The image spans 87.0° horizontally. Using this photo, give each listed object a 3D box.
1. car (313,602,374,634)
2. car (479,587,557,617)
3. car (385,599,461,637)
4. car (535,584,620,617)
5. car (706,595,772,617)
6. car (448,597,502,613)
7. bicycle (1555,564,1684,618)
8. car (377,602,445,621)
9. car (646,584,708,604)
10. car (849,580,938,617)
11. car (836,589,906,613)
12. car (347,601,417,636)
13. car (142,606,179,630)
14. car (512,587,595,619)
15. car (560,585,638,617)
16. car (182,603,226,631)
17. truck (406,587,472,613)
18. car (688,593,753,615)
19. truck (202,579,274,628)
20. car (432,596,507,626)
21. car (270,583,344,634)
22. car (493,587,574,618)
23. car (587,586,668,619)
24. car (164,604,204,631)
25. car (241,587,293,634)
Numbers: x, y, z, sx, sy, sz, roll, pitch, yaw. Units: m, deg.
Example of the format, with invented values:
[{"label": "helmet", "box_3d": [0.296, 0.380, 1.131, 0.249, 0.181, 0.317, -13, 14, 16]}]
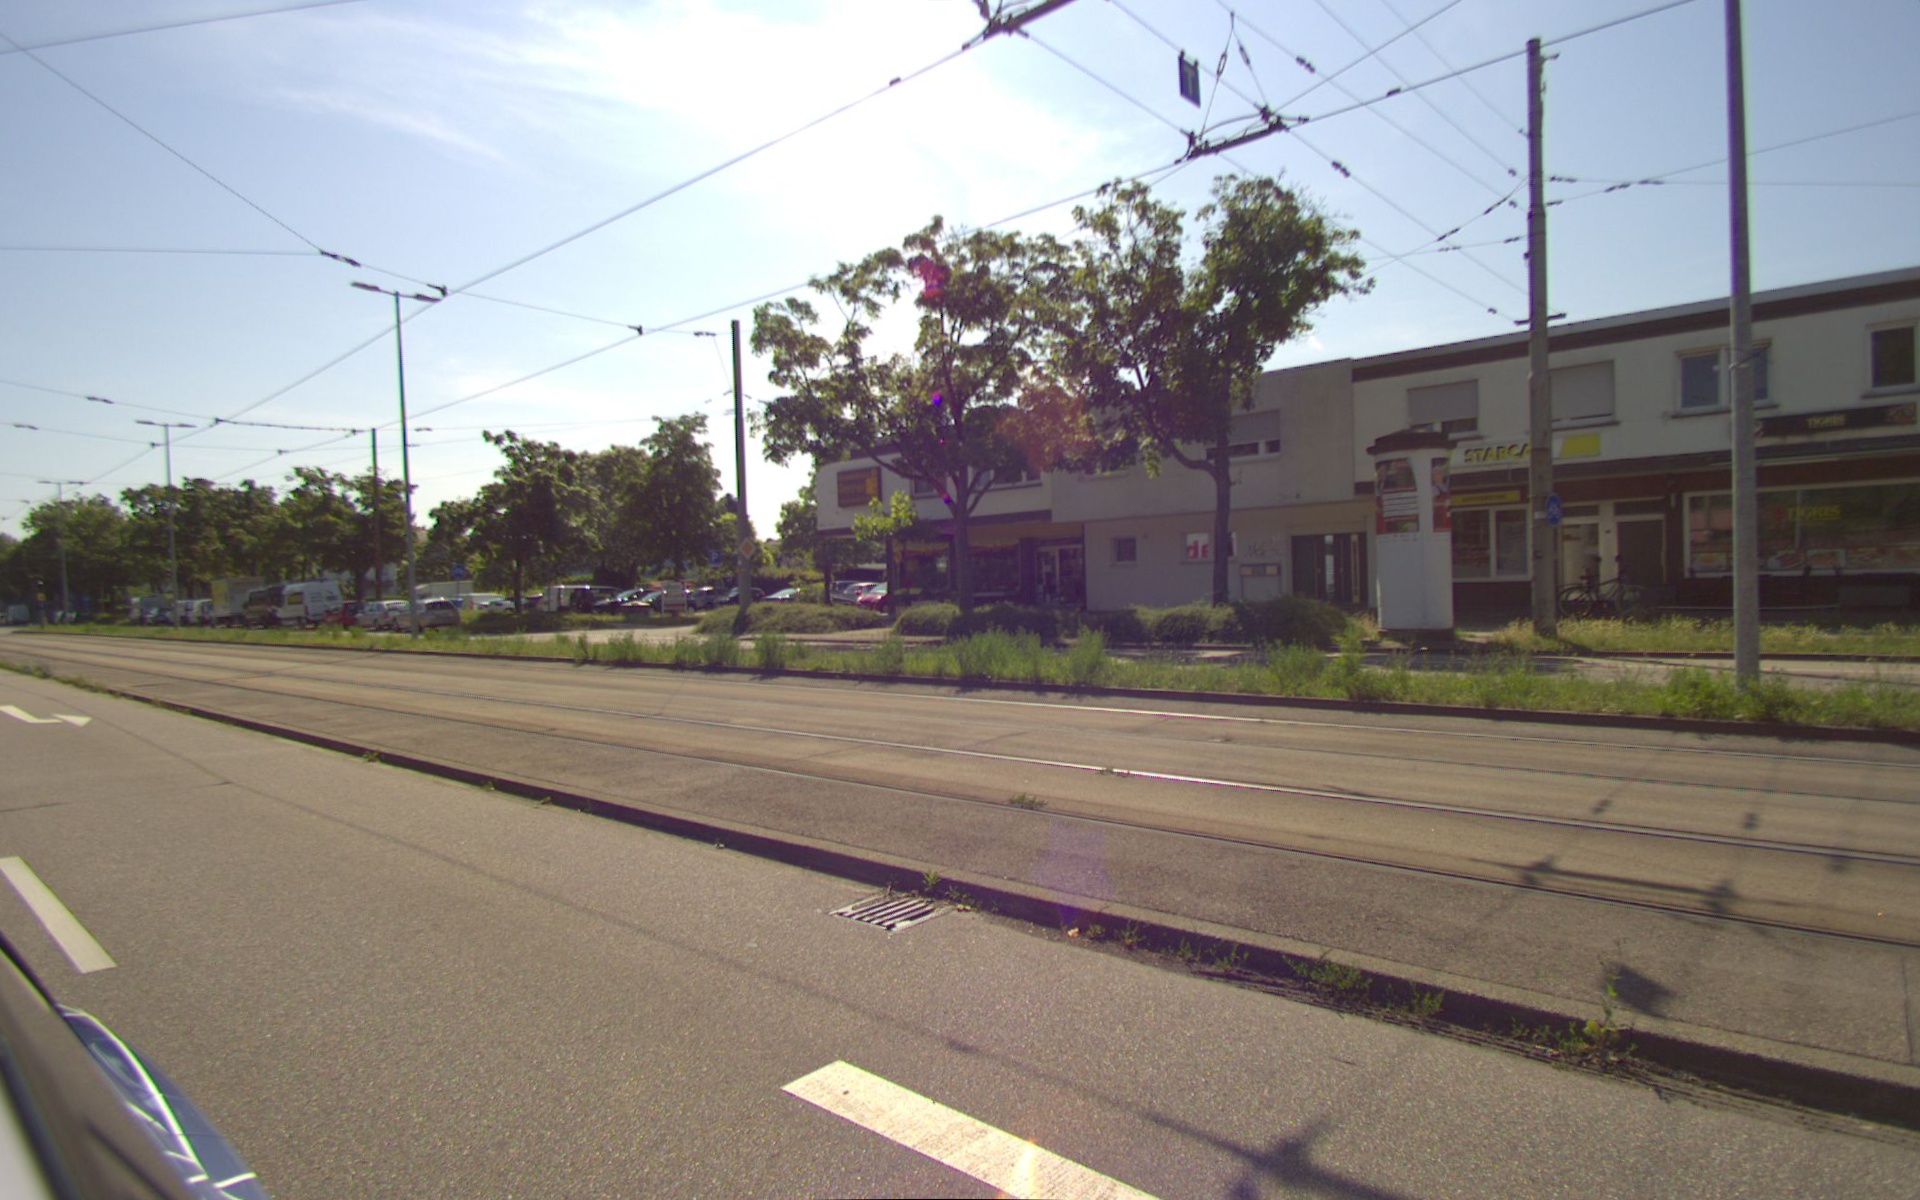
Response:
[{"label": "car", "box_3d": [-33.021, 0.978, 54.201, 3.791, 1.544, 1.654, -1, 4, 41]}, {"label": "car", "box_3d": [-27.880, 0.098, 63.911, 1.988, 1.751, 4.068, -1, 1, 38]}, {"label": "car", "box_3d": [-25.132, 0.843, 47.274, 4.255, 1.544, 1.654, -1, 4, 41]}, {"label": "car", "box_3d": [-21.920, 0.030, 58.095, 1.988, 1.751, 4.068, -1, 1, 38]}, {"label": "car", "box_3d": [-15.150, 0.400, 69.520, 1.676, 1.345, 4.197, -1, 1, 42]}, {"label": "car", "box_3d": [-45.776, 0.490, 95.556, 1.676, 1.345, 4.198, -1, 1, 41]}, {"label": "bicycle", "box_3d": [14.814, -0.173, 22.784, 2.333, 1.161, 0.779, -1, -1, 42]}, {"label": "car", "box_3d": [-41.914, 0.868, 77.353, 1.676, 1.345, 4.198, -1, 1, 41]}, {"label": "car", "box_3d": [-20.885, -0.481, 74.684, 1.674, 1.345, 4.201, -1, 1, 39]}, {"label": "car", "box_3d": [-3.106, -0.102, 47.884, 1.676, 1.616, 4.197, -1, 1, 42]}, {"label": "car", "box_3d": [-5.383, 0.050, 61.644, 1.676, 1.345, 4.197, -1, 1, 42]}, {"label": "car", "box_3d": [-29.069, 0.913, 50.851, 4.255, 1.544, 1.654, -1, 4, 41]}, {"label": "car", "box_3d": [-64.251, 1.459, 81.294, 3.685, 1.799, 1.484, -1, 4, 40]}, {"label": "car", "box_3d": [-23.894, 0.168, 59.577, 1.988, 1.751, 4.068, -1, 1, 38]}, {"label": "car", "box_3d": [-20.064, 0.027, 56.349, 1.676, 1.646, 3.761, -1, 1, 42]}, {"label": "car", "box_3d": [-54.546, 1.219, 73.005, 4.631, 1.817, 1.483, -1, 4, 41]}, {"label": "truck", "box_3d": [-52.945, -0.044, 102.905, 1.988, 2.398, 5.584, -1, 1, 38]}, {"label": "car", "box_3d": [-16.873, 0.277, 71.430, 1.676, 1.345, 4.197, -1, 1, 42]}, {"label": "truck", "box_3d": [-48.135, 0.270, 67.424, 5.902, 2.956, 2.476, -1, 4, 42]}, {"label": "car", "box_3d": [-33.150, 0.753, 68.333, 5.739, 1.825, 2.560, -1, 1, 42]}, {"label": "car", "box_3d": [-37.147, 0.494, 57.523, 5.201, 2.673, 2.036, -1, 4, 41]}, {"label": "car", "box_3d": [-25.761, 0.148, 61.253, 1.988, 1.751, 4.068, -1, 1, 38]}, {"label": "car", "box_3d": [-17.821, 0.108, 54.338, 1.676, 1.646, 3.761, -1, 1, 42]}, {"label": "car", "box_3d": [-59.598, 1.366, 77.743, 4.056, 1.859, 1.484, -1, 4, 40]}, {"label": "car", "box_3d": [-42.120, 0.653, 61.493, 4.005, 2.643, 1.483, -1, 4, 41]}]
